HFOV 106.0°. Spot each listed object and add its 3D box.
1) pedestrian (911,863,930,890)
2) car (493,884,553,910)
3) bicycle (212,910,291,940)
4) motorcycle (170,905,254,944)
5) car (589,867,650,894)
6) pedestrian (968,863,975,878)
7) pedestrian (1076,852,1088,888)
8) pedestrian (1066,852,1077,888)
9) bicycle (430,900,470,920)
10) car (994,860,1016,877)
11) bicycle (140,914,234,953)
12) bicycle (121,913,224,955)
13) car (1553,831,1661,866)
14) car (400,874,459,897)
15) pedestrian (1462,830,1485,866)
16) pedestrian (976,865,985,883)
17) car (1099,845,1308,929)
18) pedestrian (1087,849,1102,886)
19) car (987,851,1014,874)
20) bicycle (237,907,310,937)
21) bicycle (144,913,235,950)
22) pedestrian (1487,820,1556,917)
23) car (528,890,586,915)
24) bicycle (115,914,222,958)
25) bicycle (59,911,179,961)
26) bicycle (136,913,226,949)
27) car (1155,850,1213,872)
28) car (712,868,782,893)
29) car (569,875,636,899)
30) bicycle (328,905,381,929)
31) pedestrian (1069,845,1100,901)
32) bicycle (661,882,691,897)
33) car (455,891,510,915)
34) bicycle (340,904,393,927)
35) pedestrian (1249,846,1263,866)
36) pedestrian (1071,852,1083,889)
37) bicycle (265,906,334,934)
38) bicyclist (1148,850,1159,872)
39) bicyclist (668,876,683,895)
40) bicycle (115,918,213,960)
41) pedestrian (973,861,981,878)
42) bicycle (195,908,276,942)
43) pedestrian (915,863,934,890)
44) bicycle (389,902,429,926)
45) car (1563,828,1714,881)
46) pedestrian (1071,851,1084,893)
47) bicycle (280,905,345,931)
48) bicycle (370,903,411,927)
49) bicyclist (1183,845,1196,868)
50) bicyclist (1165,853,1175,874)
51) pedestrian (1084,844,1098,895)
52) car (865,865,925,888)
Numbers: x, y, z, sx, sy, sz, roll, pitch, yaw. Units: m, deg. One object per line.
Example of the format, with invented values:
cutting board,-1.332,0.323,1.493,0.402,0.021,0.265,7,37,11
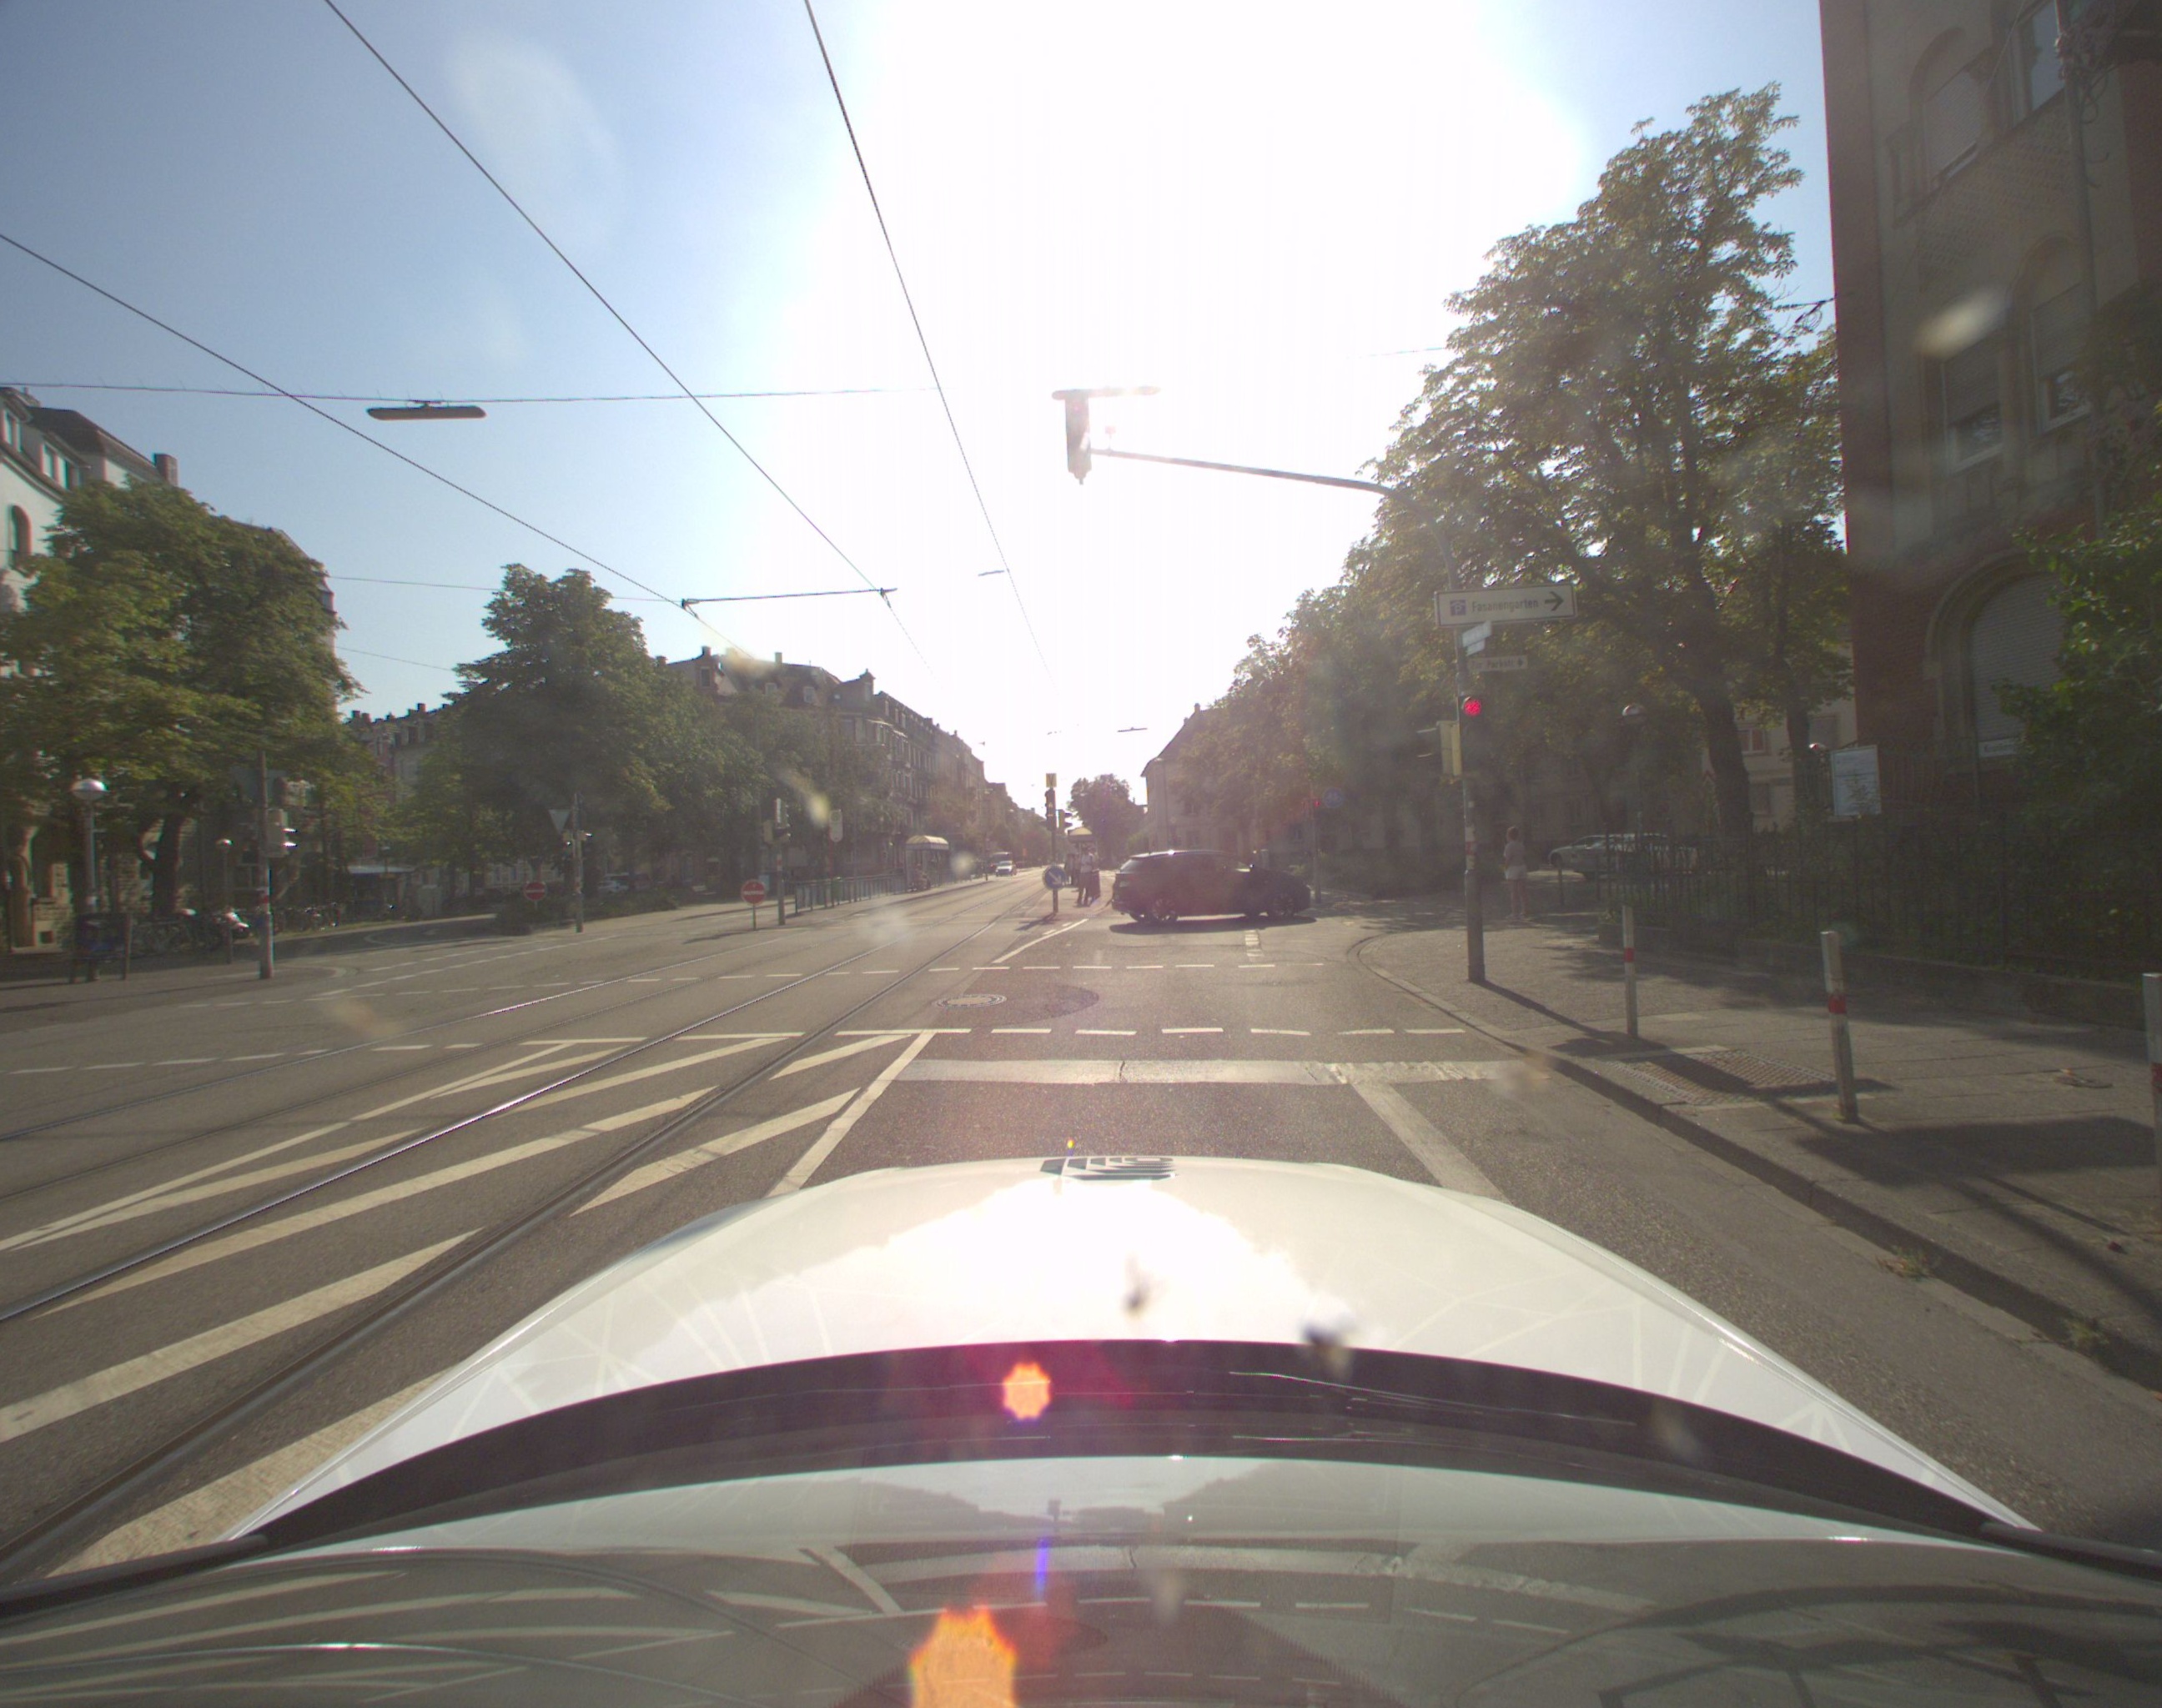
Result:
pedestrian,-8.395,1.187,42.643,0.826,1.359,0.775,-3,-1,-3
car,-43.255,3.350,63.160,3.951,1.828,2.011,-3,0,24
bicycle,-30.774,2.613,30.255,1.919,0.935,0.730,-2,-1,-33
motorcycle,-29.916,2.412,28.070,1.882,1.154,0.601,-2,-1,-33
car,-35.878,2.061,63.328,3.952,1.828,2.011,-3,0,22
pedestrian,-13.092,1.976,97.631,0.749,1.731,0.769,-3,-1,-8
pedestrian,0.037,0.777,39.667,0.541,1.759,0.534,0,2,1
pedestrian,-0.487,0.803,41.095,0.530,1.759,0.545,0,2,2
bicycle,-33.398,2.958,43.099,1.754,0.978,0.607,-3,0,8
car,-8.058,1.563,86.855,1.794,1.653,3.644,-3,0,2
bicycle,-26.716,2.356,24.381,1.814,0.984,0.563,-2,-1,-40
bicycle,-25.872,2.260,23.237,1.887,1.034,0.563,-2,-1,-38
car,23.422,-0.218,36.479,1.752,1.428,4.135,-3,0,-8
car,-57.779,2.785,72.278,3.959,1.828,2.008,-3,0,13
pedestrian,19.651,-0.307,40.748,0.883,1.740,0.780,-3,-1,20
pedestrian,-10.328,2.049,83.498,0.747,1.731,0.772,-3,-1,3
car,2.667,0.669,17.962,4.218,1.515,1.605,-3,0,-13
pedestrian,0.668,0.631,39.037,0.706,1.759,0.534,0,2,1
car,-10.038,1.069,102.111,2.336,2.662,5.112,-3,0,5
bicycle,-31.356,2.626,31.667,1.908,0.980,0.679,-2,-1,-33
bicycle,-27.561,2.377,25.231,1.814,0.983,0.652,-2,-1,-40
pedestrian,8.167,0.268,15.136,0.749,1.731,0.769,-3,-1,-8
car,-42.603,3.948,66.264,3.952,1.828,2.011,-3,0,22
bicycle,-24.825,2.211,22.196,0.562,1.003,1.890,-3,-1,37
bicycle,-24.691,2.091,20.953,0.563,1.113,1.888,-3,-1,22
bicycle,-28.412,2.424,25.759,1.814,0.977,0.652,-2,-1,-40
car,8.395,0.550,66.063,4.289,1.569,2.009,-3,0,16
car,-24.417,1.947,59.511,4.355,1.569,1.978,-3,-1,-36
car,-34.936,2.414,59.499,4.283,1.569,2.011,-3,-1,24
bicycle,-34.316,2.958,38.491,1.771,0.978,0.516,-3,0,-21
pedestrian,0.117,0.600,25.875,0.693,1.725,0.753,1,2,34
bicycle,-29.768,2.634,59.930,1.851,0.958,0.546,-3,0,-11
car,-51.297,4.237,69.815,3.952,1.828,2.011,-3,0,22
bicycle,-34.433,2.961,39.269,1.772,0.978,0.601,-3,0,-22
pedestrian,15.500,0.200,71.961,0.882,1.740,0.781,-3,-1,34
pedestrian,-0.193,0.784,38.862,0.541,1.759,0.534,0,2,1
bicycle,-31.680,2.645,33.033,1.908,0.980,0.679,-2,-1,-33
bicyclist,5.087,0.498,57.279,0.627,1.507,0.678,-3,0,-1
bicyclist,-29.819,2.306,59.952,0.820,1.328,0.546,-3,0,-13
bicycle,-23.791,2.199,21.161,0.473,0.920,1.619,-3,-1,31
pedestrian,-10.960,1.623,85.659,0.749,1.731,0.769,-3,-1,-8
bicycle,-30.199,2.529,29.125,1.885,1.027,0.657,-2,-1,-33
pedestrian,-8.396,1.194,43.620,0.826,1.359,0.775,-3,-1,-3
bicycle,-32.818,2.920,39.773,0.423,0.978,1.770,-3,0,1
car,18.178,-0.036,26.518,4.793,1.466,1.855,-2,2,-24
pedestrian,-0.151,0.746,34.851,0.502,1.759,0.534,0,2,1
bicycle,-32.439,2.703,34.386,1.877,0.935,0.635,-2,-1,-17
bicycle,-33.200,2.927,39.191,0.423,0.978,1.770,-3,0,1
bicyclist,9.133,0.192,68.490,0.980,1.857,0.494,-3,-1,12
bicyclist,6.212,0.656,56.789,0.556,1.416,0.871,-3,0,0
pedestrian,0.383,0.571,30.138,0.502,1.833,0.534,0,2,1
car,-15.168,1.820,66.491,4.352,1.569,1.980,-3,-1,-32
